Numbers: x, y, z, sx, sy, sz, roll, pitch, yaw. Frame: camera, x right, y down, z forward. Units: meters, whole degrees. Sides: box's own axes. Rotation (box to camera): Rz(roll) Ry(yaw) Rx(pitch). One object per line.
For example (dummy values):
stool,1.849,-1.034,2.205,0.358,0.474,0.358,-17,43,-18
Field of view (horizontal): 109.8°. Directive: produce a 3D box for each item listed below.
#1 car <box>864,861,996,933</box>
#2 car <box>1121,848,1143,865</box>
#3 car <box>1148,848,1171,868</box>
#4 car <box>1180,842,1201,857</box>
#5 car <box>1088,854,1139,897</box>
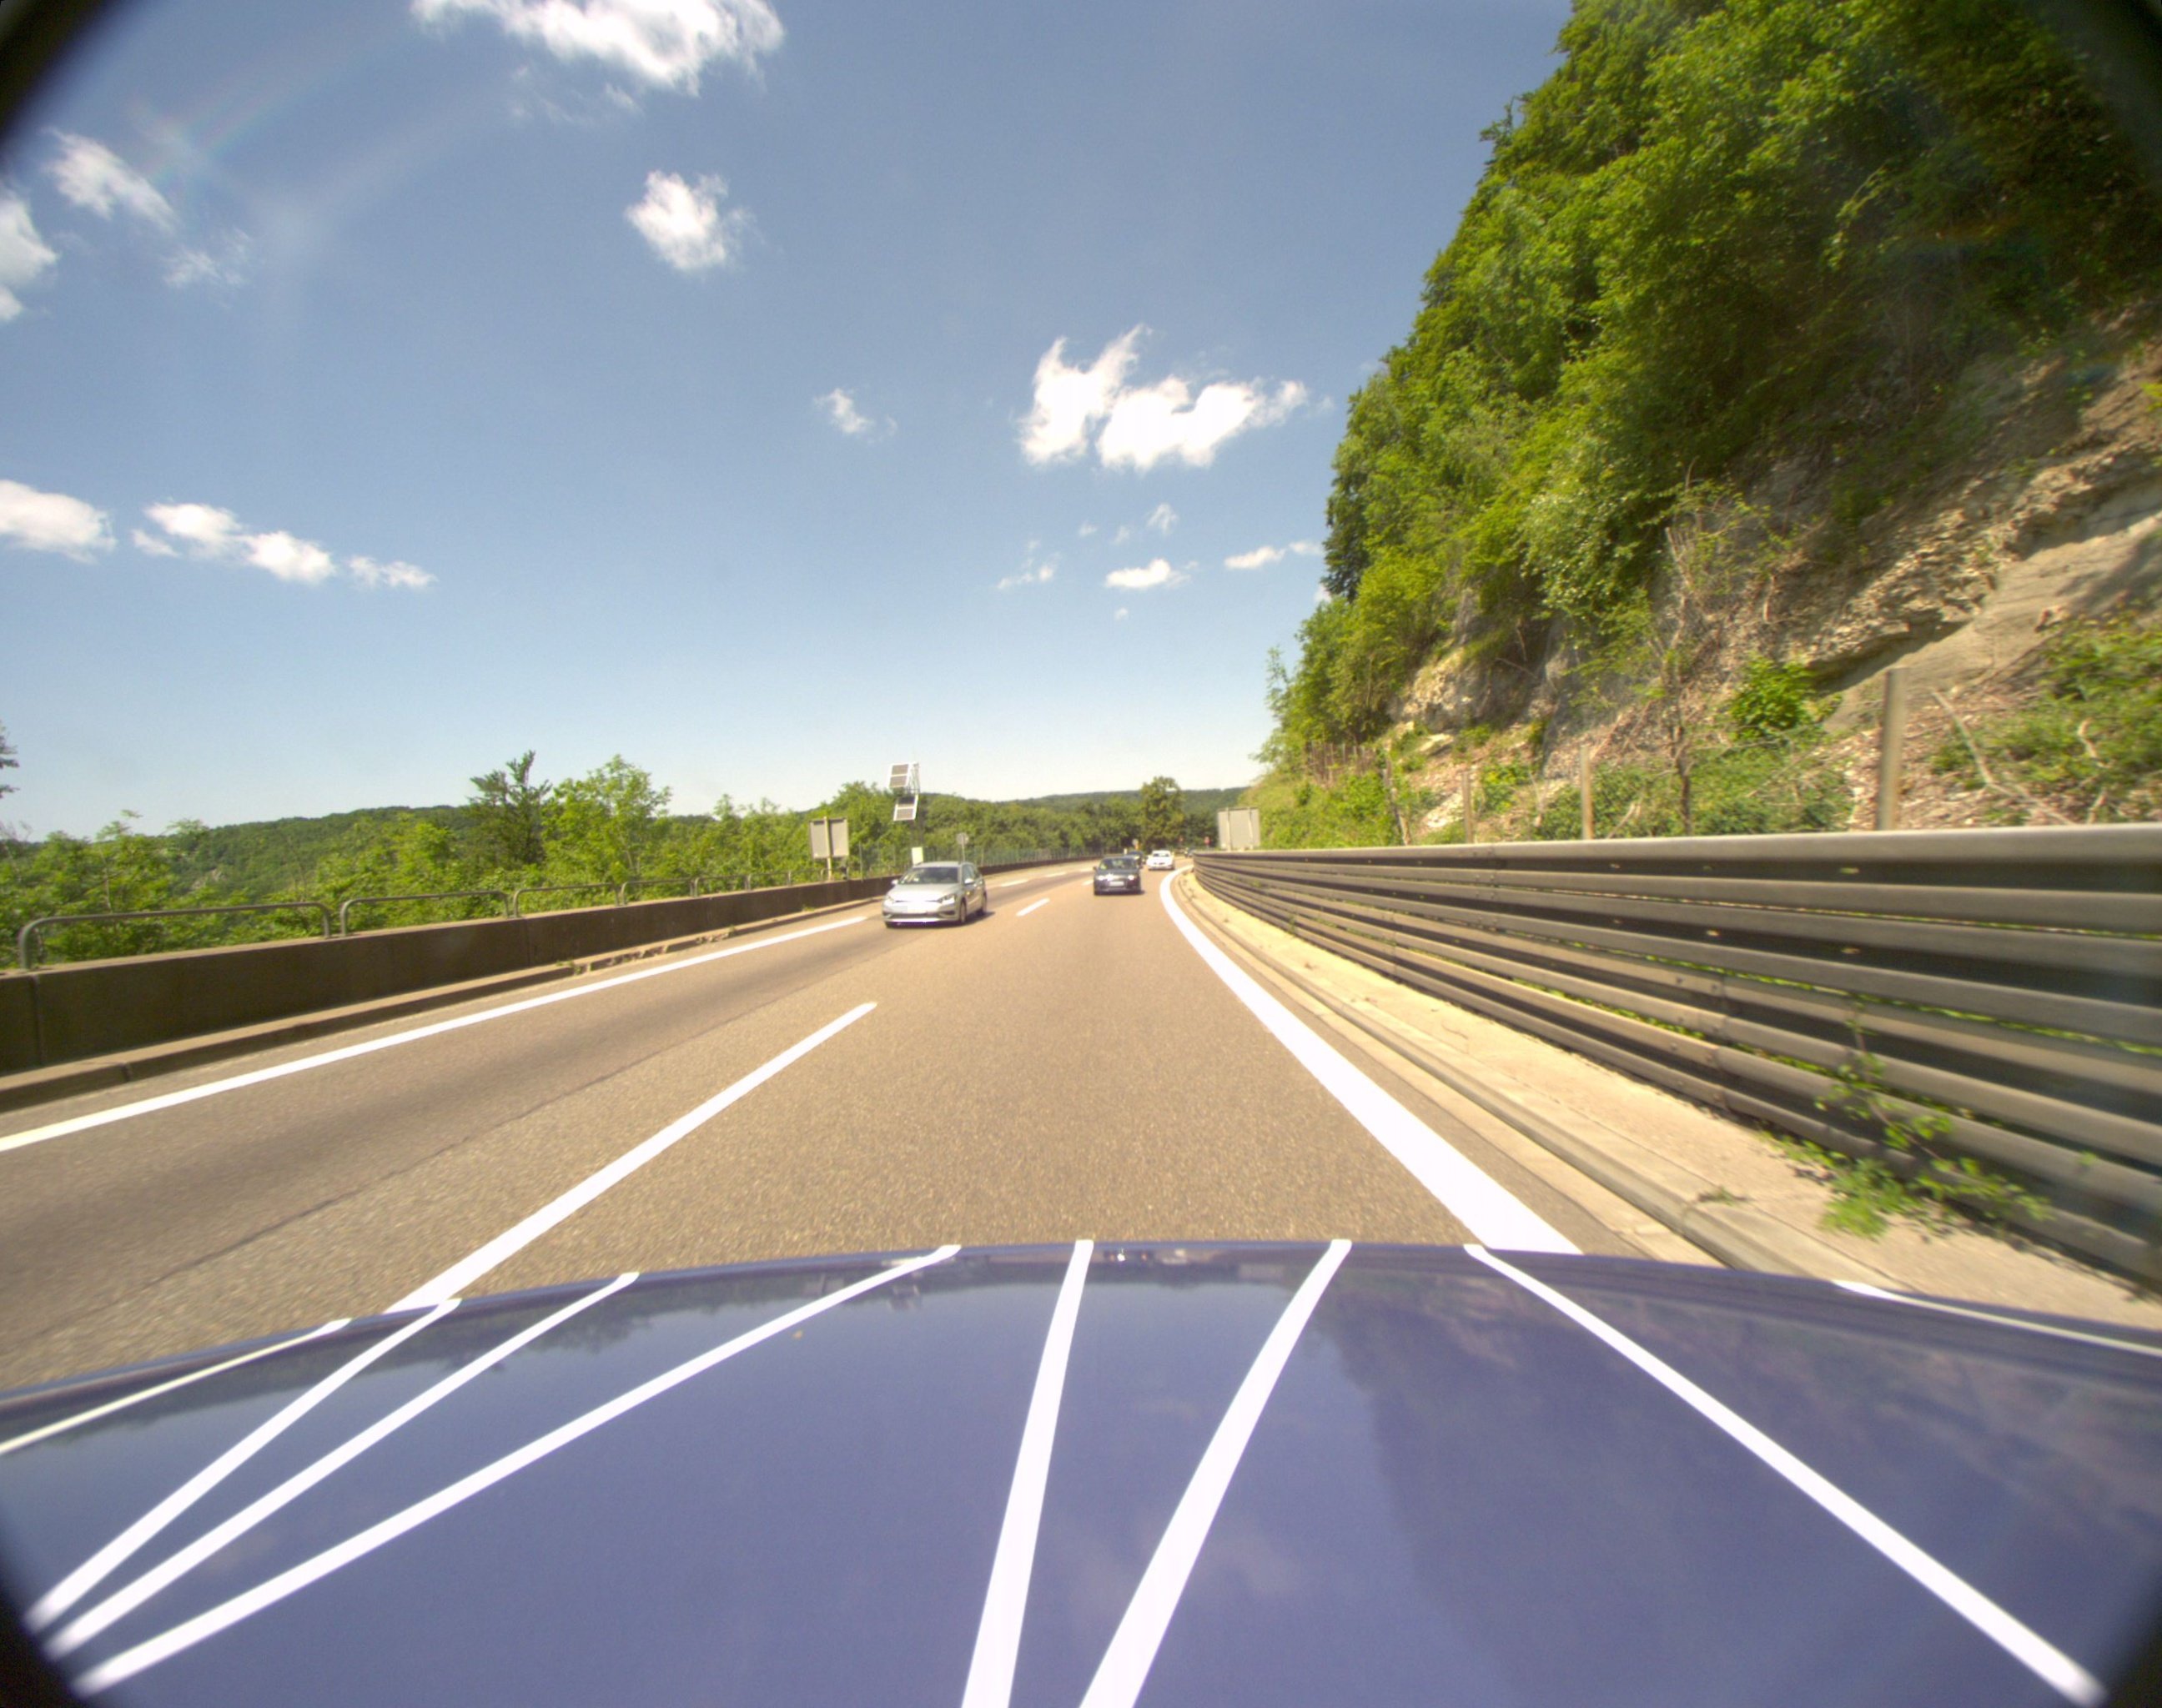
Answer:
car,-3.479,0.945,18.389,1.972,1.370,4.294,-2,1,5
car,4.942,0.201,73.338,1.874,1.565,4.002,-2,0,7
car,5.975,0.295,58.131,1.702,1.432,4.045,-2,1,5
car,15.420,-0.661,106.971,1.995,2.002,4.006,-2,0,22
car,1.309,0.762,28.842,1.668,1.415,4.045,-2,1,6
